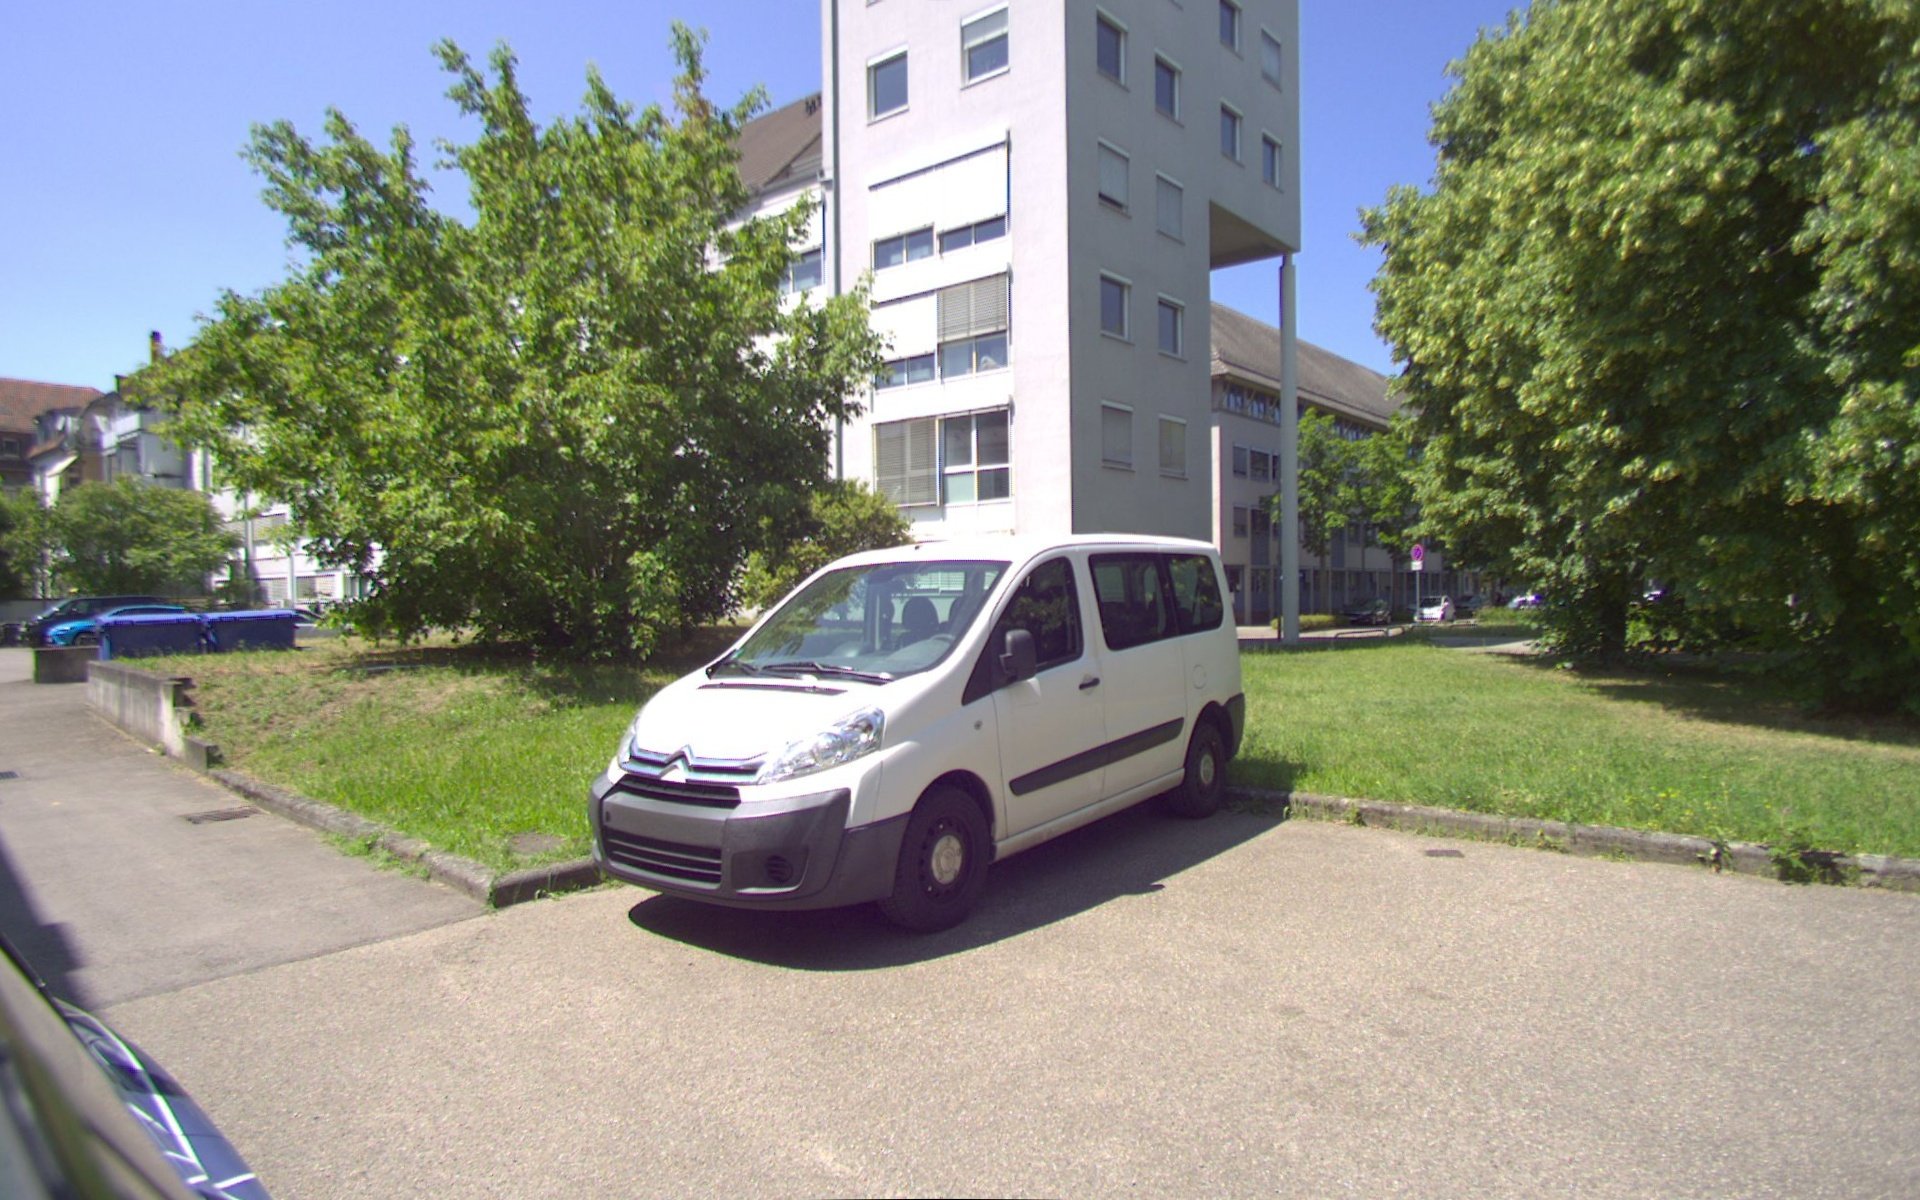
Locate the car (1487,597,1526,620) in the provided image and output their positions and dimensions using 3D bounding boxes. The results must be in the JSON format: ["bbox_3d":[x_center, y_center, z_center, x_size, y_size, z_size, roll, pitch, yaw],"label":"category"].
[{"bbox_3d":[41.503,0.620,76.830,1.973,1.630,4.118,0,0,37],"label":"car"}]

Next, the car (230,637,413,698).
[{"bbox_3d":[-17.590,1.810,28.029,1.709,1.447,3.949,-1,-1,38],"label":"car"}]

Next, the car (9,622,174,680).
[{"bbox_3d":[-32.557,1.844,38.033,1.998,1.846,4.394,0,1,39],"label":"car"}]

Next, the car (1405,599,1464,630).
[{"bbox_3d":[26.808,0.779,57.128,1.976,1.630,4.113,0,0,42],"label":"car"}]

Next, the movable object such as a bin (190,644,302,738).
[{"bbox_3d":[-11.421,1.419,16.196,1.104,1.337,1.241,-1,0,42],"label":"movable object such as a bin"}]

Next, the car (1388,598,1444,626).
[{"bbox_3d":[27.614,0.688,61.266,1.975,1.630,4.114,0,0,41],"label":"car"}]

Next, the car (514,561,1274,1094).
[{"bbox_3d":[0.069,0.867,6.192,1.997,1.926,4.744,-4,-2,37],"label":"car"}]

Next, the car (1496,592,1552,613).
[{"bbox_3d":[47.674,0.222,85.610,3.992,1.746,1.770,-1,0,36],"label":"car"}]

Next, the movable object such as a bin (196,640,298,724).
[{"bbox_3d":[-12.485,1.398,17.727,1.104,1.337,1.241,-1,0,42],"label":"movable object such as a bin"}]

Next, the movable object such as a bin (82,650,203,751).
[{"bbox_3d":[-12.276,1.473,15.210,1.104,1.337,1.241,-1,0,42],"label":"movable object such as a bin"}]

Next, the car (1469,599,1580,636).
[{"bbox_3d":[25.707,0.773,46.172,4.167,1.630,1.950,0,0,40],"label":"car"}]

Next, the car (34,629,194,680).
[{"bbox_3d":[-30.385,1.898,36.468,1.856,1.565,4.118,-1,0,37],"label":"car"}]

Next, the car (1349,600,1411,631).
[{"bbox_3d":[23.394,0.820,56.321,1.976,1.630,4.113,0,0,42],"label":"car"}]

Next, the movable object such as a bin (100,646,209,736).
[{"bbox_3d":[-13.310,1.464,16.727,1.104,1.337,1.241,-1,0,42],"label":"movable object such as a bin"}]
